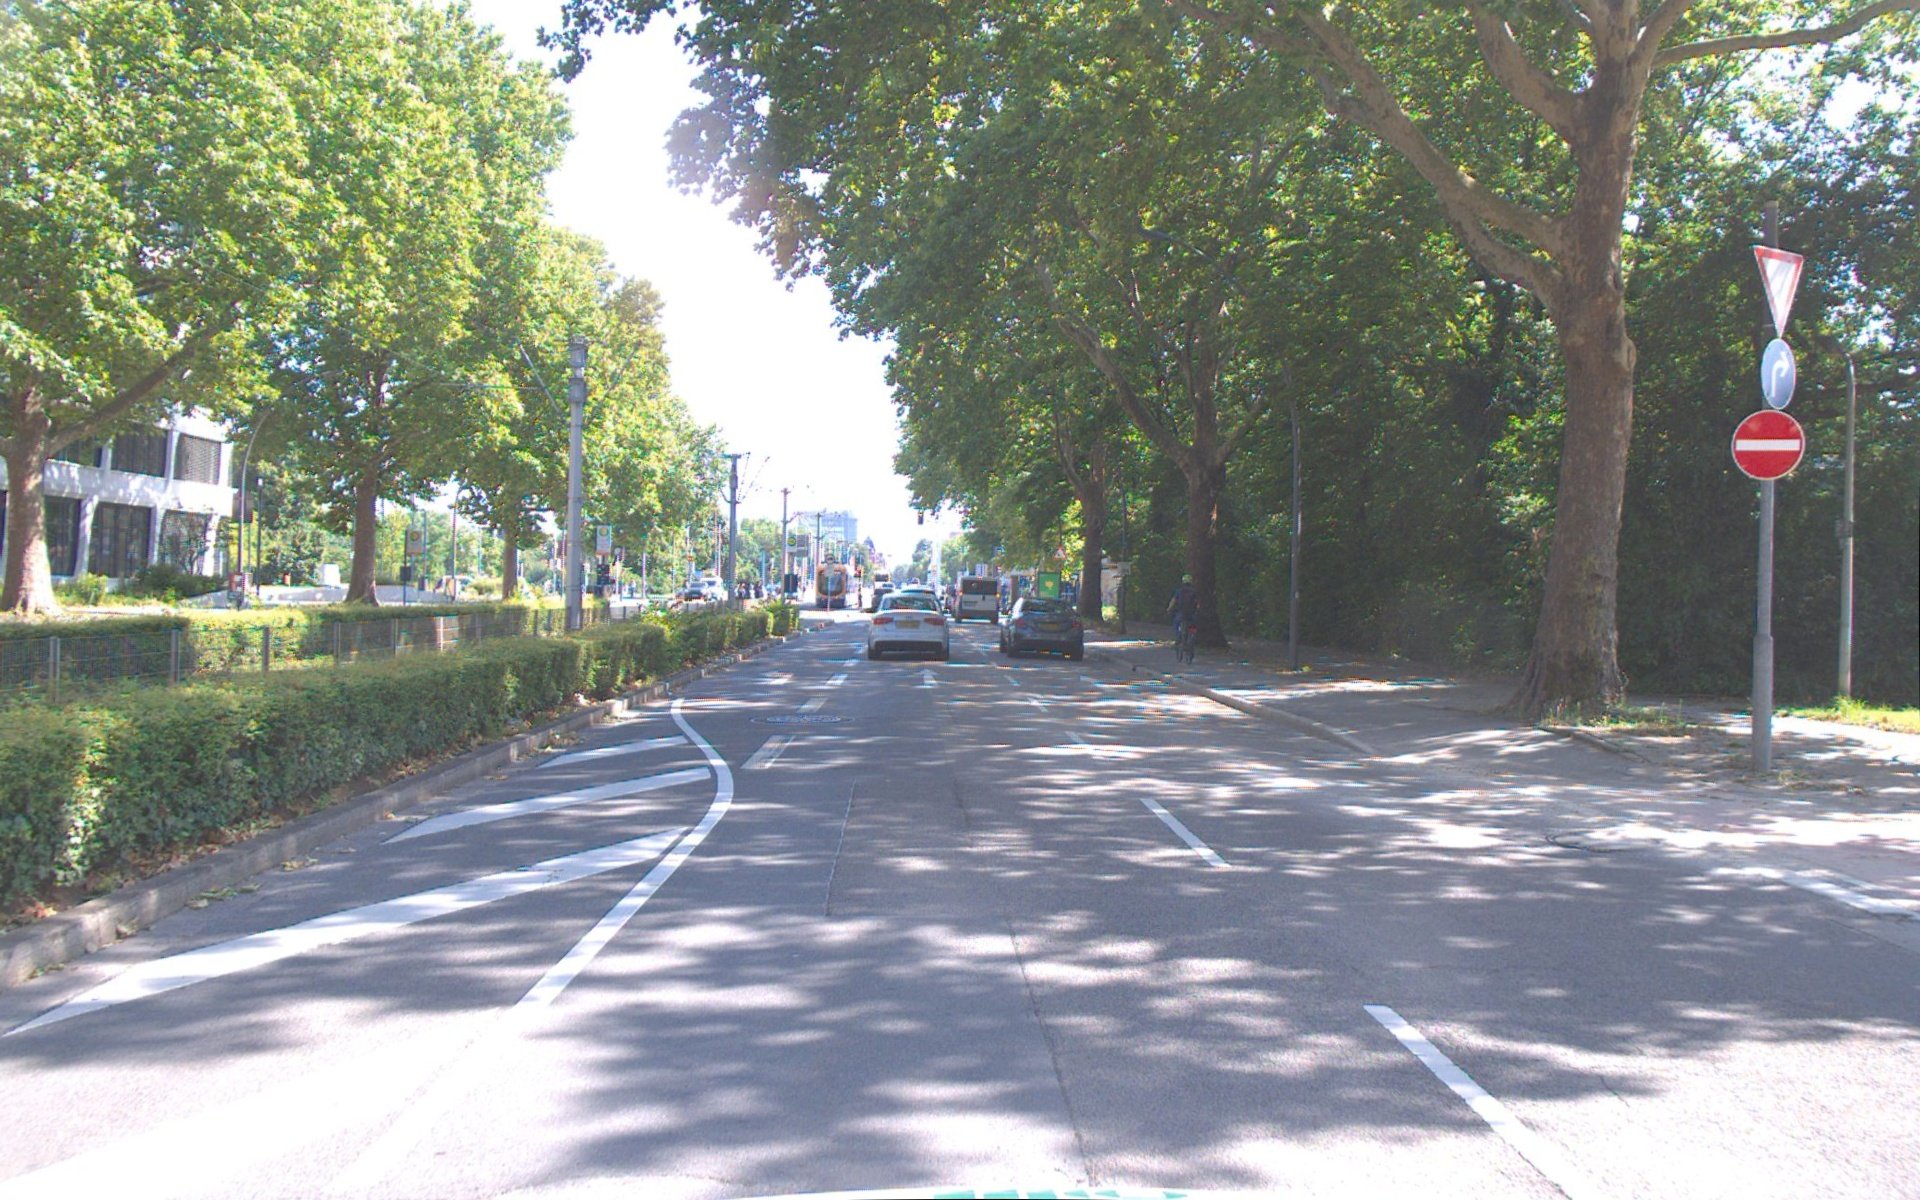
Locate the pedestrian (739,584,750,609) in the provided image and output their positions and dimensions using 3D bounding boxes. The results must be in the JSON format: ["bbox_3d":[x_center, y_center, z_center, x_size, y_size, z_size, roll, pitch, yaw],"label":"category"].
[{"bbox_3d":[-14.485,-0.229,111.234,0.581,1.675,0.554,1,0,-1],"label":"pedestrian"}]

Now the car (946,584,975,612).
[{"bbox_3d":[0.035,-0.152,122.437,2.030,2.034,4.057,2,0,-1],"label":"car"}]

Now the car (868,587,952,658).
[{"bbox_3d":[-1.091,0.469,36.847,1.748,1.445,3.884,2,0,-1],"label":"car"}]

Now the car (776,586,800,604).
[{"bbox_3d":[-17.447,-0.521,168.008,1.953,1.764,3.999,2,0,-1],"label":"car"}]

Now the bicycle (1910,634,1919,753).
[{"bbox_3d":[9.131,0.877,14.684,0.342,1.101,1.698,1,0,-2],"label":"bicycle"}]

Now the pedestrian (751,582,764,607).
[{"bbox_3d":[-14.474,-0.394,118.289,0.758,1.764,0.755,1,0,7],"label":"pedestrian"}]

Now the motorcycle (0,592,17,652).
[{"bbox_3d":[-19.518,0.438,32.686,0.619,1.195,1.999,1,0,-1],"label":"motorcycle"}]

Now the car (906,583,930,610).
[{"bbox_3d":[-3.066,-0.251,121.485,1.694,1.935,3.999,2,0,-1],"label":"car"}]

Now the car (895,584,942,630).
[{"bbox_3d":[-1.555,0.239,62.448,1.694,1.633,3.884,2,0,-1],"label":"car"}]

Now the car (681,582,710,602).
[{"bbox_3d":[-22.811,-0.650,142.903,1.793,1.652,4.895,1,0,-2],"label":"car"}]

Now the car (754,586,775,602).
[{"bbox_3d":[-20.767,-0.649,175.724,1.833,1.637,3.999,2,0,-1],"label":"car"}]

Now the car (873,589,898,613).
[{"bbox_3d":[-5.404,0.038,120.297,1.694,1.659,3.999,2,0,-1],"label":"car"}]

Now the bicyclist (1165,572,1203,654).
[{"bbox_3d":[4.738,0.262,35.050,0.621,1.676,0.979,-1,2,-2],"label":"bicyclist"}]

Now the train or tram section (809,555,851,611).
[{"bbox_3d":[-9.805,-1.266,124.907,2.563,4.085,7.747,2,0,-1],"label":"train or tram section"}]

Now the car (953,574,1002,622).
[{"bbox_3d":[0.827,-0.107,80.353,2.185,2.250,4.161,2,0,-1],"label":"car"}]

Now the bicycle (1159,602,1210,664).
[{"bbox_3d":[4.750,0.673,35.103,0.700,1.168,2.178,-1,2,-2],"label":"bicycle"}]

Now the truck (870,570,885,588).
[{"bbox_3d":[-12.998,-3.282,261.062,1.953,2.839,8.517,2,0,-1],"label":"truck"}]

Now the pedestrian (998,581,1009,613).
[{"bbox_3d":[2.719,-0.167,104.175,0.622,1.980,0.719,1,0,-1],"label":"pedestrian"}]

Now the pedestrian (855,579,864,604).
[{"bbox_3d":[-7.797,-0.649,128.543,0.611,1.951,0.689,1,0,-1],"label":"pedestrian"}]

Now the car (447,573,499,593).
[{"bbox_3d":[-40.712,-1.408,138.335,3.769,1.576,1.769,2,0,-1],"label":"car"}]

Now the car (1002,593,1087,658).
[{"bbox_3d":[1.997,0.583,40.141,1.746,1.445,3.999,2,0,-1],"label":"car"}]
